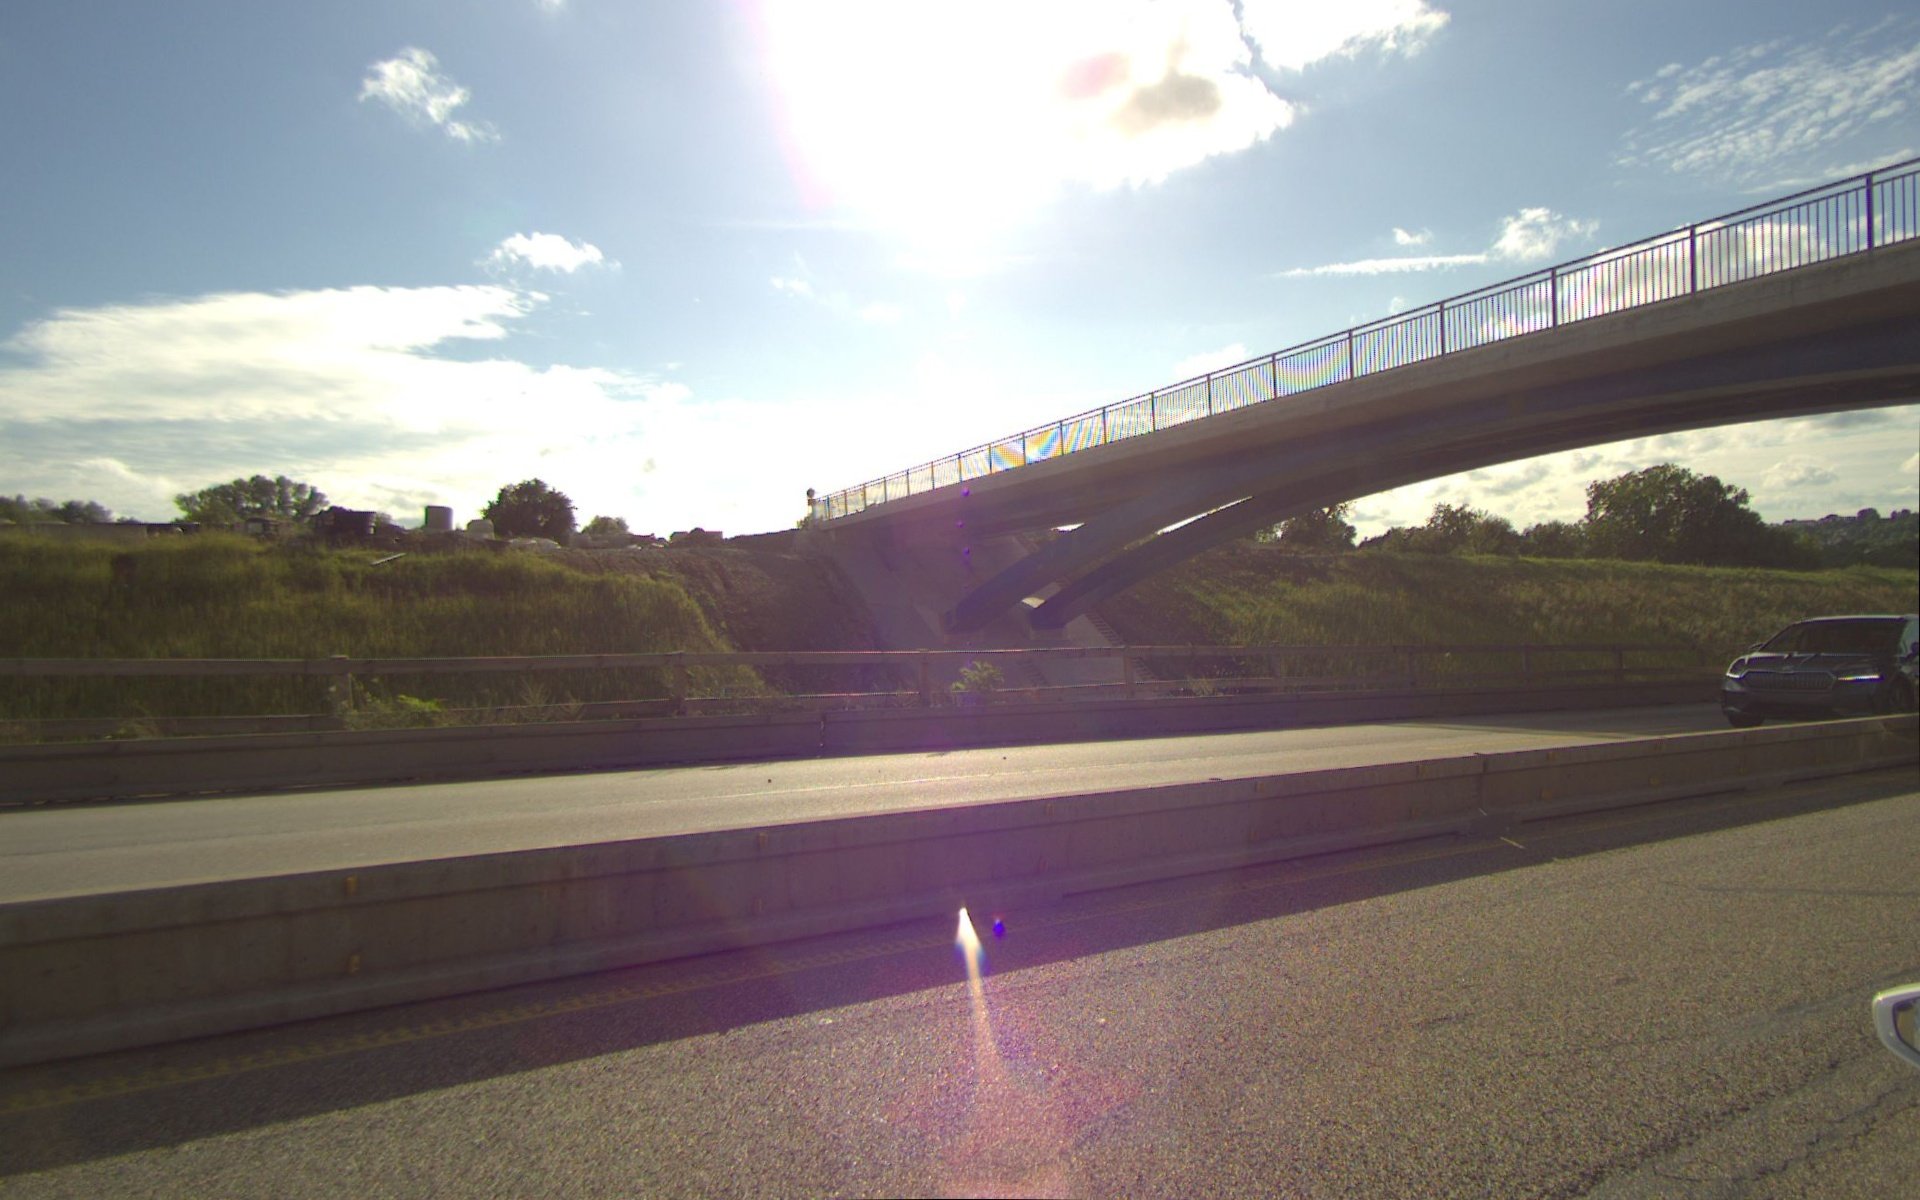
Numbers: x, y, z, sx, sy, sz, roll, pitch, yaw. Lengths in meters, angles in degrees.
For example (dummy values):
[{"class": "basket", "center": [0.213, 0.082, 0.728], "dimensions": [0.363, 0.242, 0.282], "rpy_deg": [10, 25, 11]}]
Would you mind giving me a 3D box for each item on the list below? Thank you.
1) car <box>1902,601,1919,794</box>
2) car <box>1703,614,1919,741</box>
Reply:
[{"class": "car", "center": [10.658, 0.865, 9.051], "dimensions": [4.695, 1.646, 1.983], "rpy_deg": [1, -1, -31]}, {"class": "car", "center": [12.673, 1.037, 14.342], "dimensions": [4.169, 1.584, 1.815], "rpy_deg": [1, -3, -31]}]
